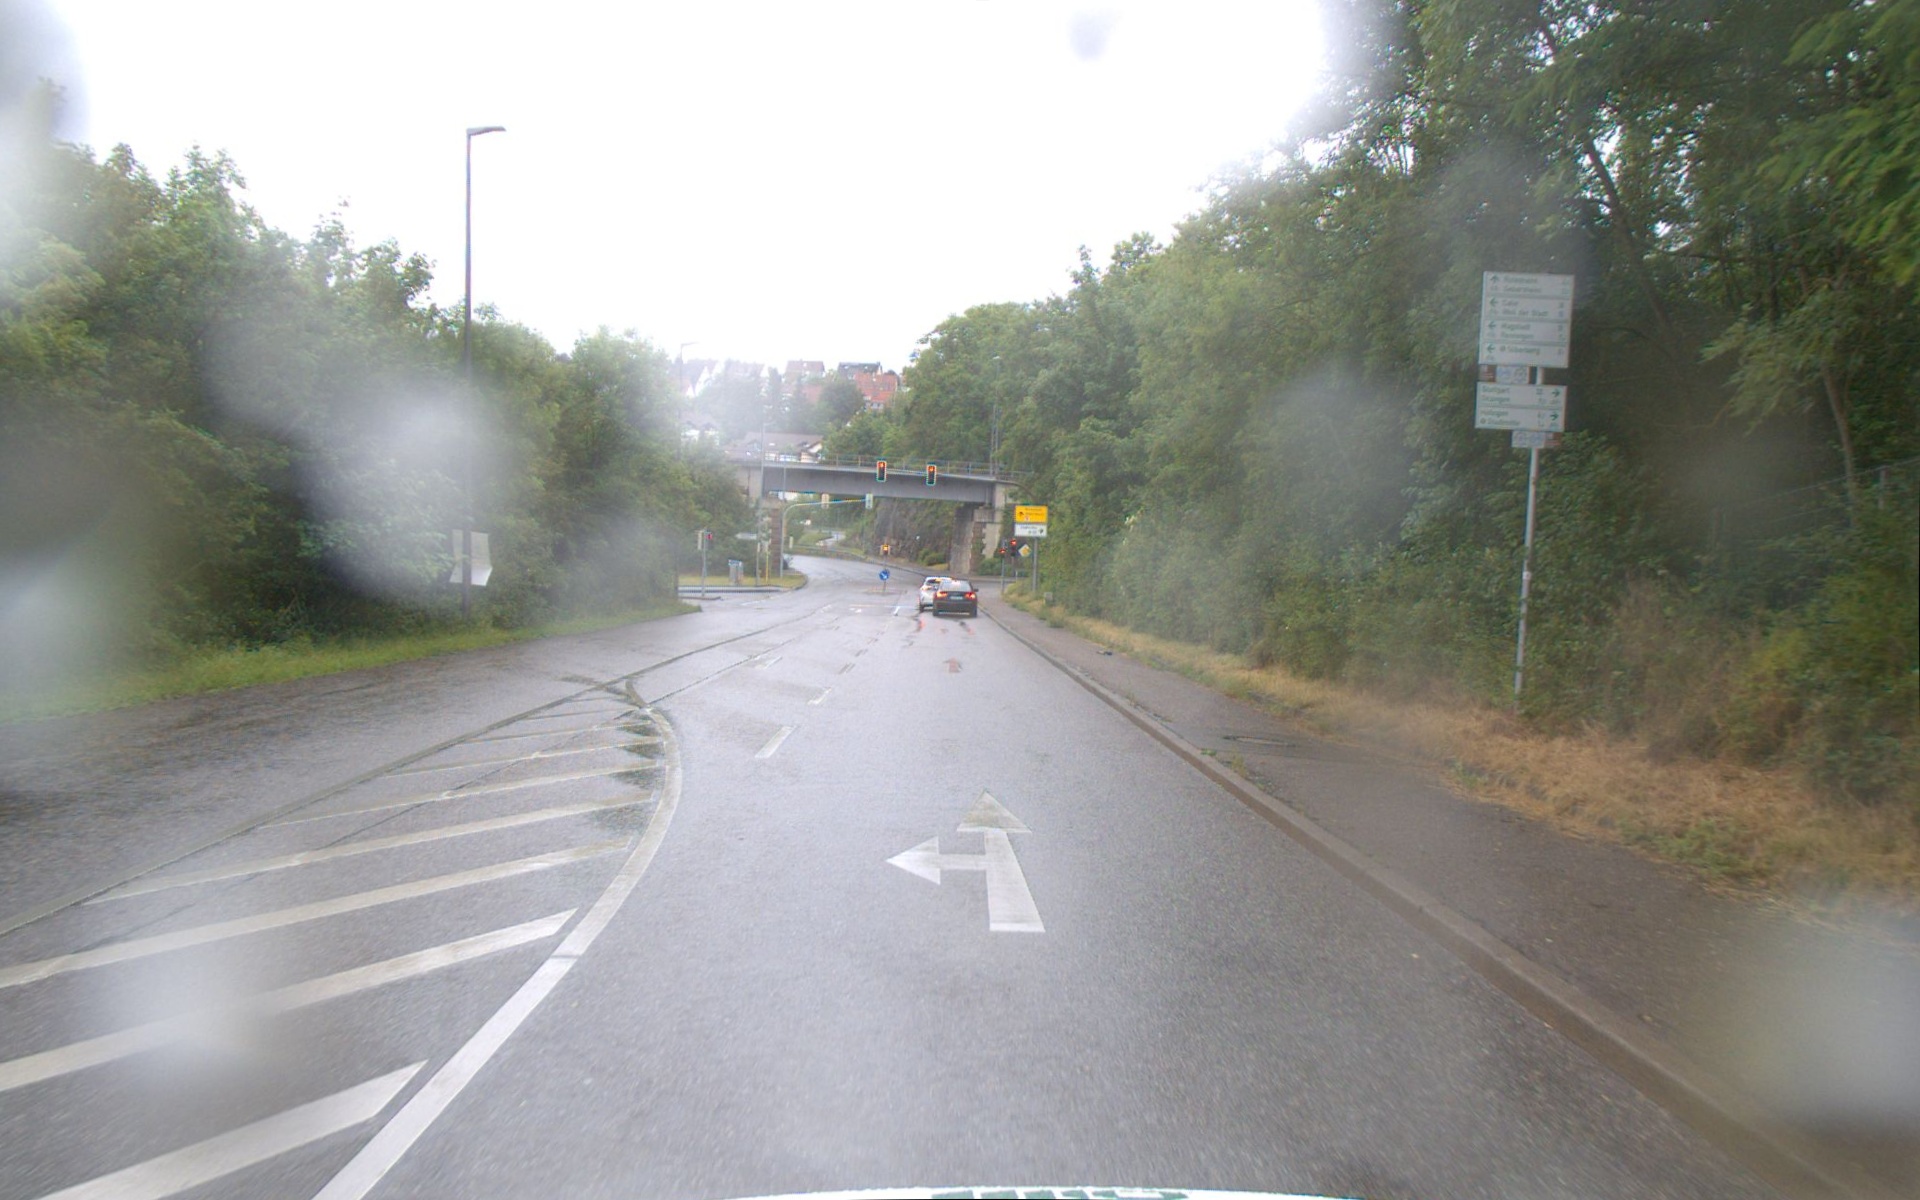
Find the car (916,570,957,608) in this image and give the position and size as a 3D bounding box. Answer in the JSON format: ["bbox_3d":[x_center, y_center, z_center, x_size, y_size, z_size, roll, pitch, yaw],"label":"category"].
[{"bbox_3d":[-1.029,-0.485,72.756,1.732,1.590,4.000,1,1,0],"label":"car"}]

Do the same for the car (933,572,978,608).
[{"bbox_3d":[-0.194,-0.408,66.083,1.732,1.404,4.000,1,1,0],"label":"car"}]
